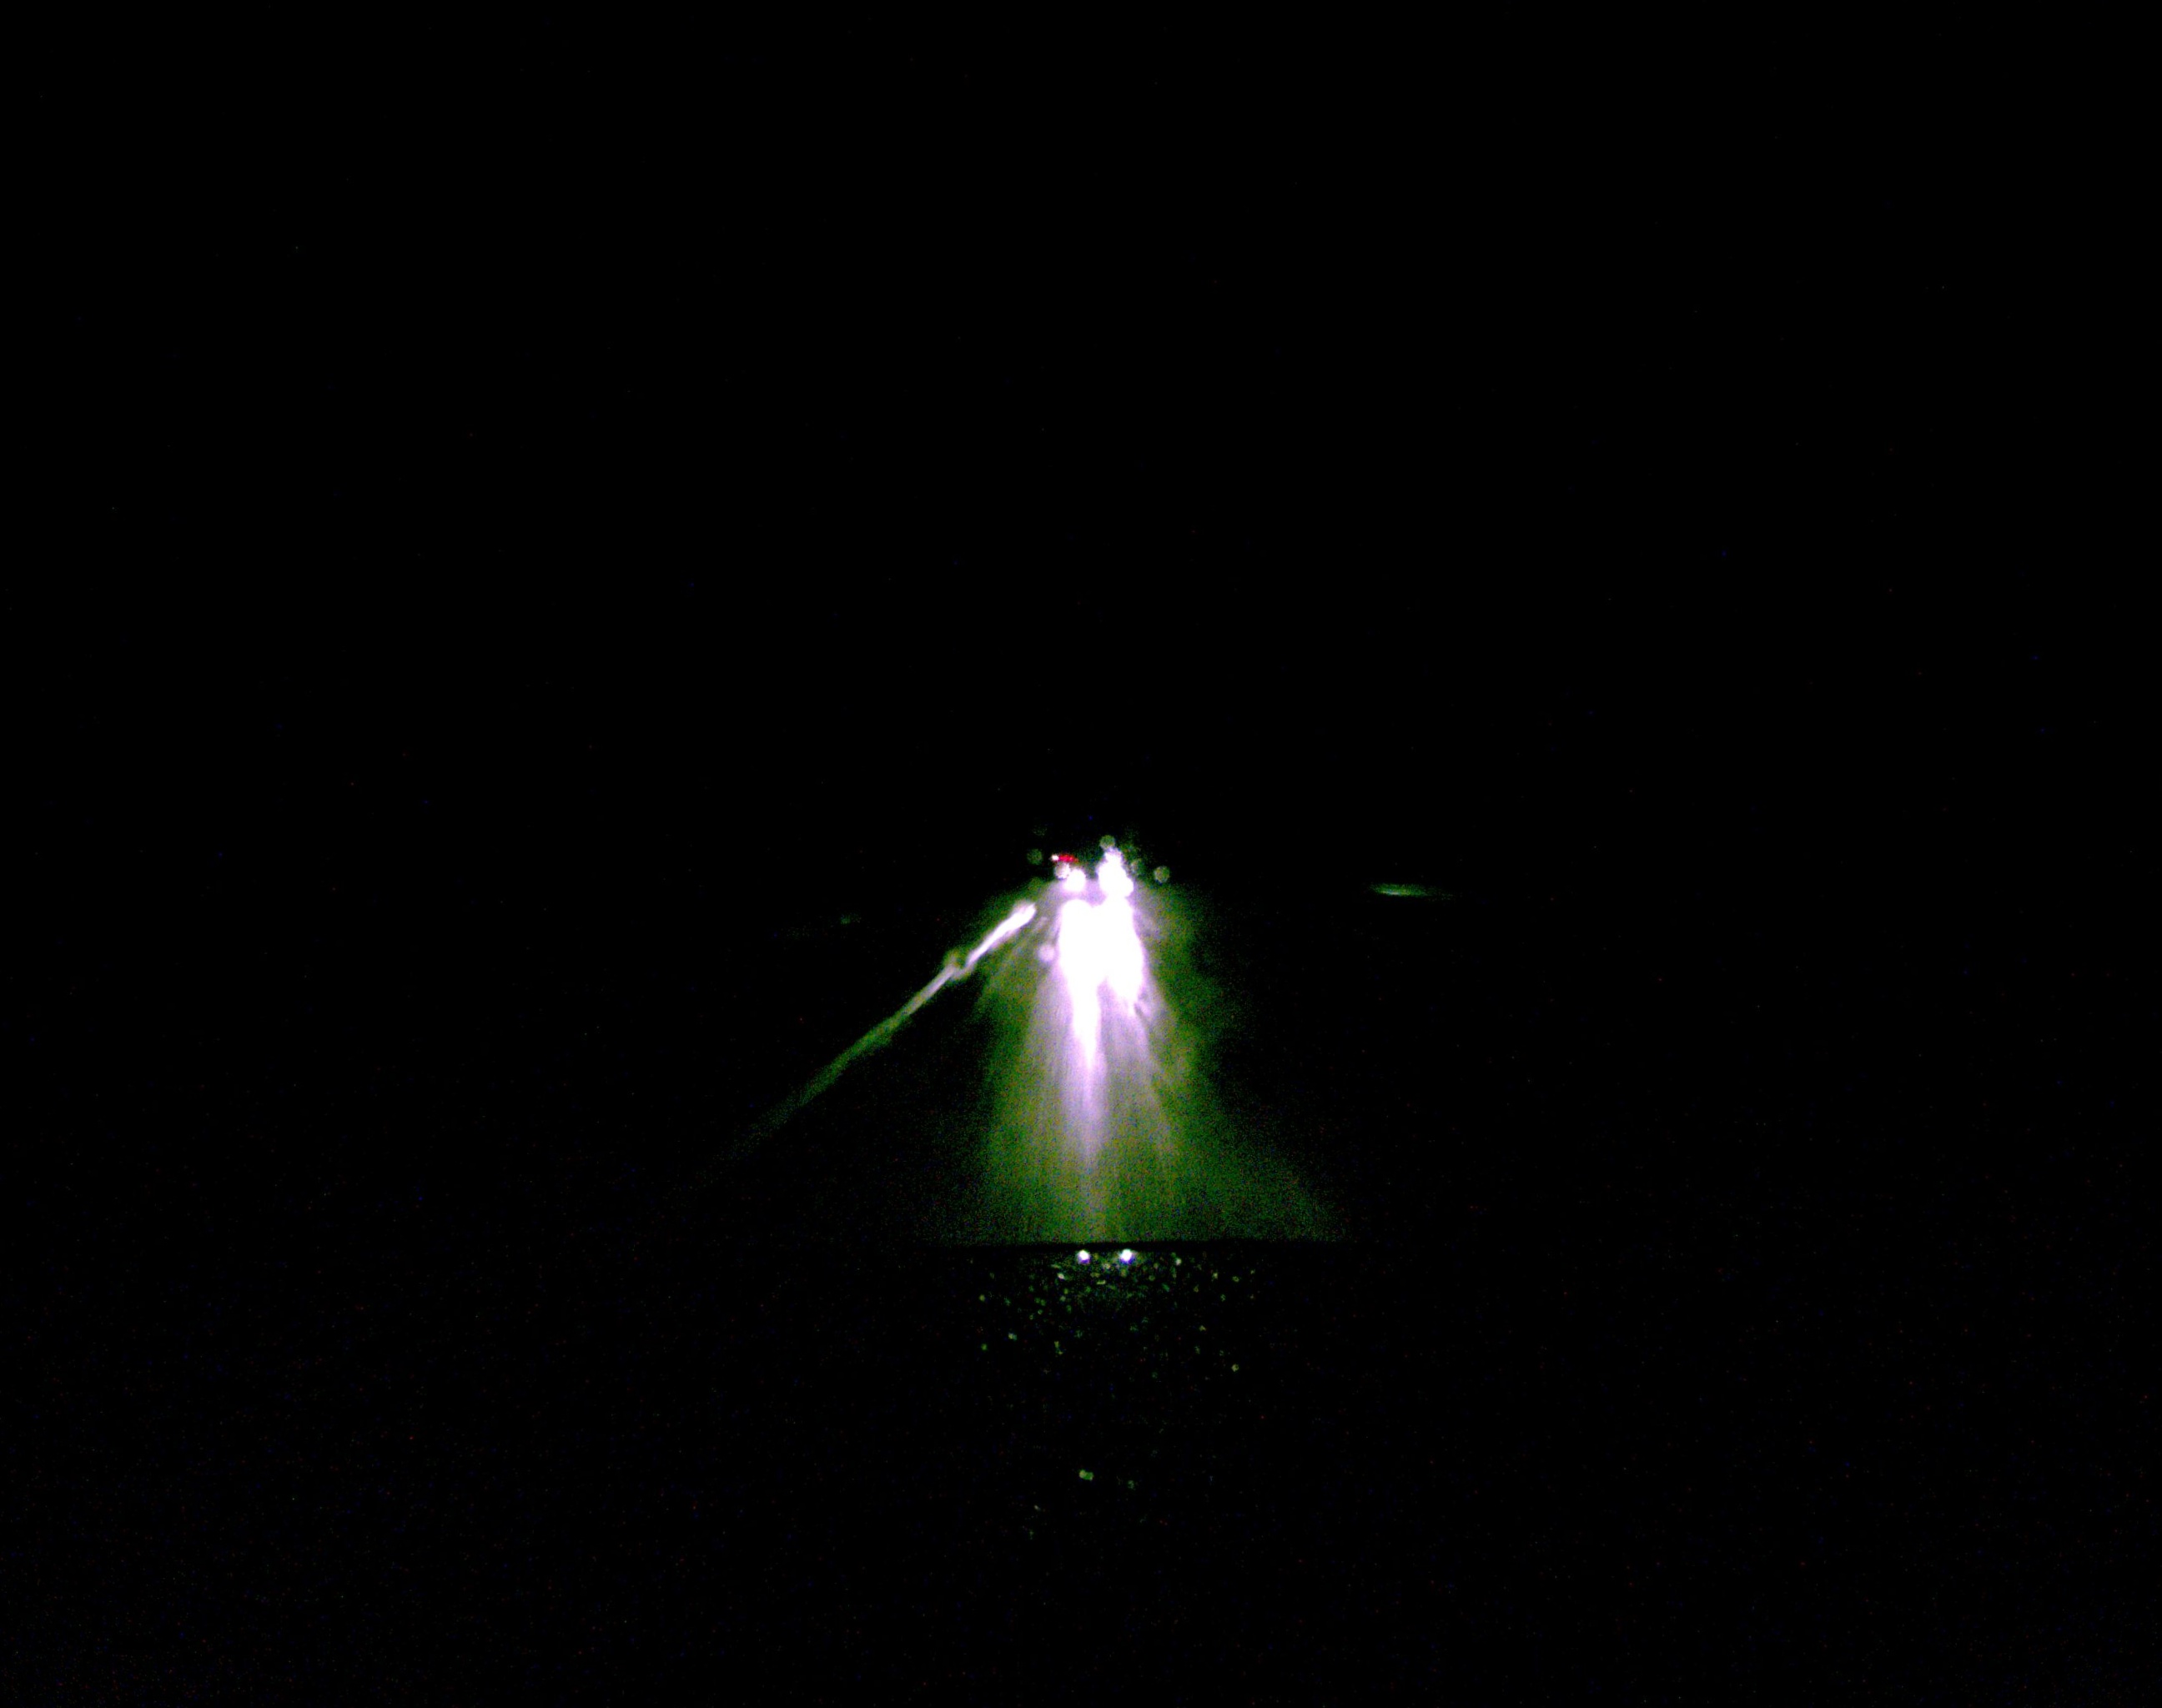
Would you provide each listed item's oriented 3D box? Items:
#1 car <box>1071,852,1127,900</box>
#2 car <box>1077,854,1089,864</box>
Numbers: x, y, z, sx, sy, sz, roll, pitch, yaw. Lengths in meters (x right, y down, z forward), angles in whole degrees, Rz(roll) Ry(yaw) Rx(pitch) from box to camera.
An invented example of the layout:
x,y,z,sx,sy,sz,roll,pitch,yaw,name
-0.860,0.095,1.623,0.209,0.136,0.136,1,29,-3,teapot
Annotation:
x,y,z,sx,sy,sz,roll,pitch,yaw,name
0.613,0.770,28.930,1.863,1.601,4.419,-3,0,-1,car
0.322,0.827,135.308,1.894,1.628,4.155,-1,1,-1,car
